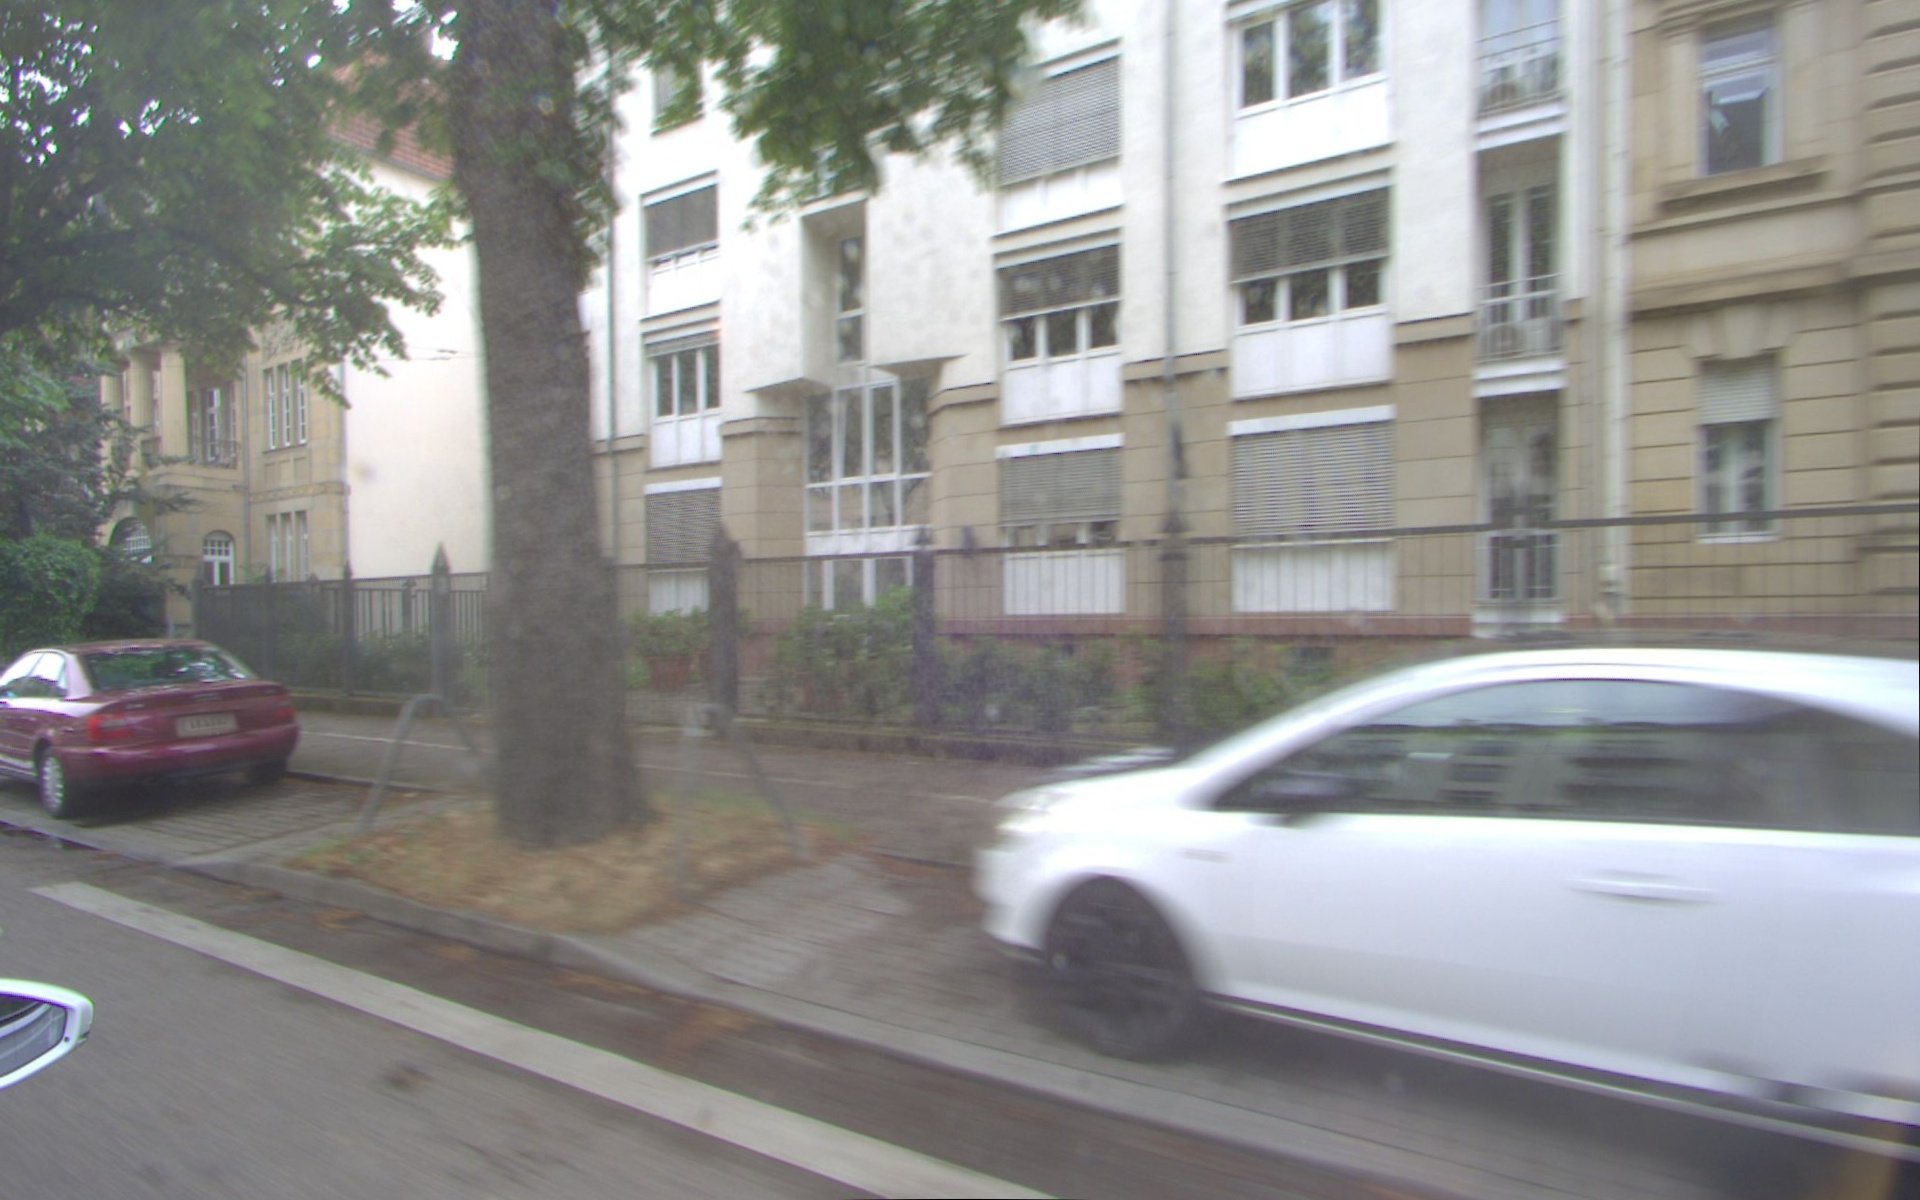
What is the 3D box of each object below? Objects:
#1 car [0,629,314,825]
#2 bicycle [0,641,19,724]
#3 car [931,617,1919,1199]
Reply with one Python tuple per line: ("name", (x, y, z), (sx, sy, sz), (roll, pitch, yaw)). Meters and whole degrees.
("car", (-8.058, 1.028, 9.488), (4.166, 1.418, 1.598), (-1, 1, 32))
("bicycle", (-14.242, 1.197, 14.182), (0.425, 1.213, 1.903), (0, -2, -13))
("car", (1.892, 0.819, 3.453), (3.723, 1.455, 1.598), (-1, 1, 33))
